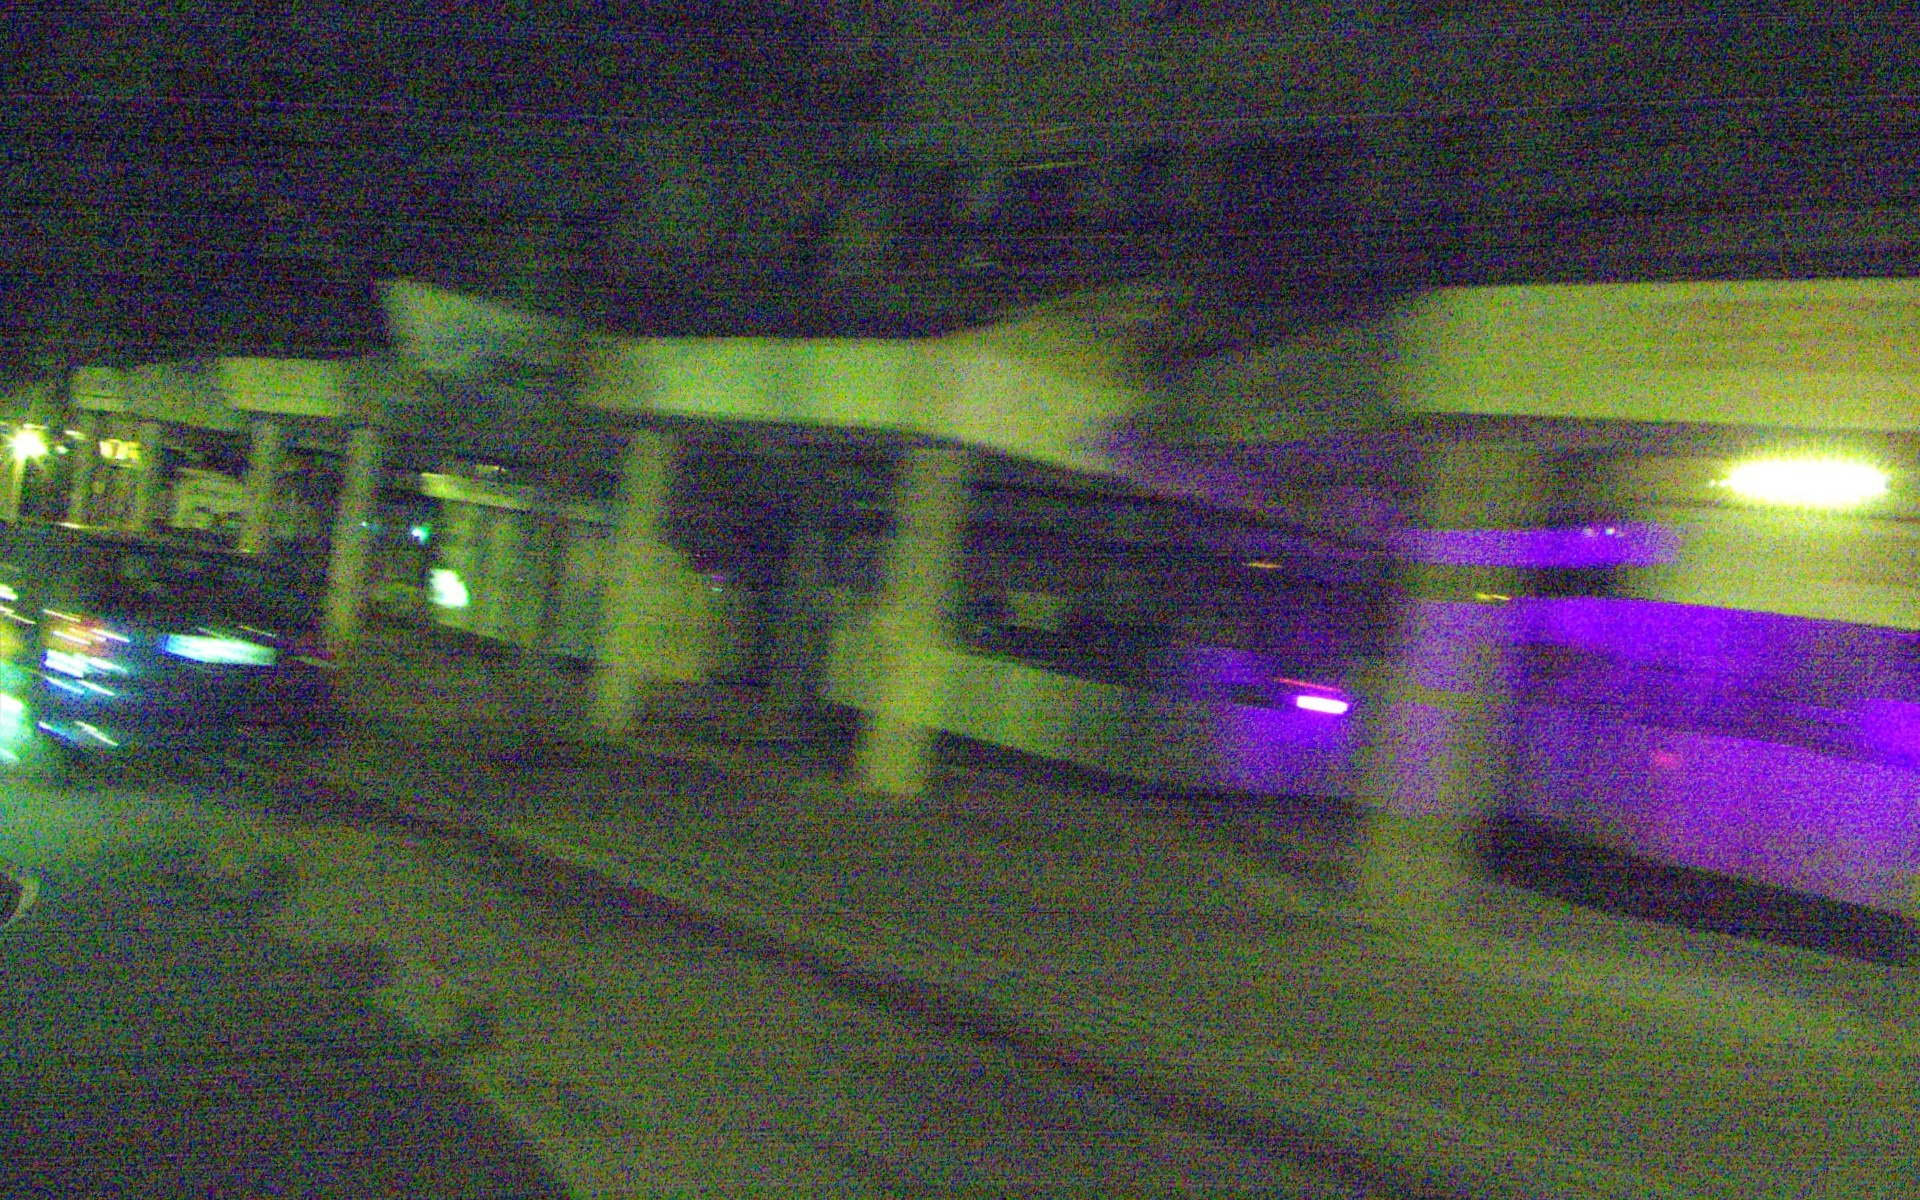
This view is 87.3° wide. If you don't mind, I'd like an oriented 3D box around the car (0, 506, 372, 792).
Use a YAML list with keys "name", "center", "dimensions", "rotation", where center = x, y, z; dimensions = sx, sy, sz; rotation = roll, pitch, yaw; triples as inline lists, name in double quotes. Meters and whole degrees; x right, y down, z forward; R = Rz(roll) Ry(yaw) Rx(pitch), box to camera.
- name: "car"
  center: [-5.779, 0.188, 6.760]
  dimensions: [3.459, 1.415, 1.603]
  rotation: [7, -2, 32]

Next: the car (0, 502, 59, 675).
- name: "car"
  center: [-10.147, -0.332, 9.151]
  dimensions: [3.932, 1.465, 1.679]
  rotation: [7, 0, 30]
